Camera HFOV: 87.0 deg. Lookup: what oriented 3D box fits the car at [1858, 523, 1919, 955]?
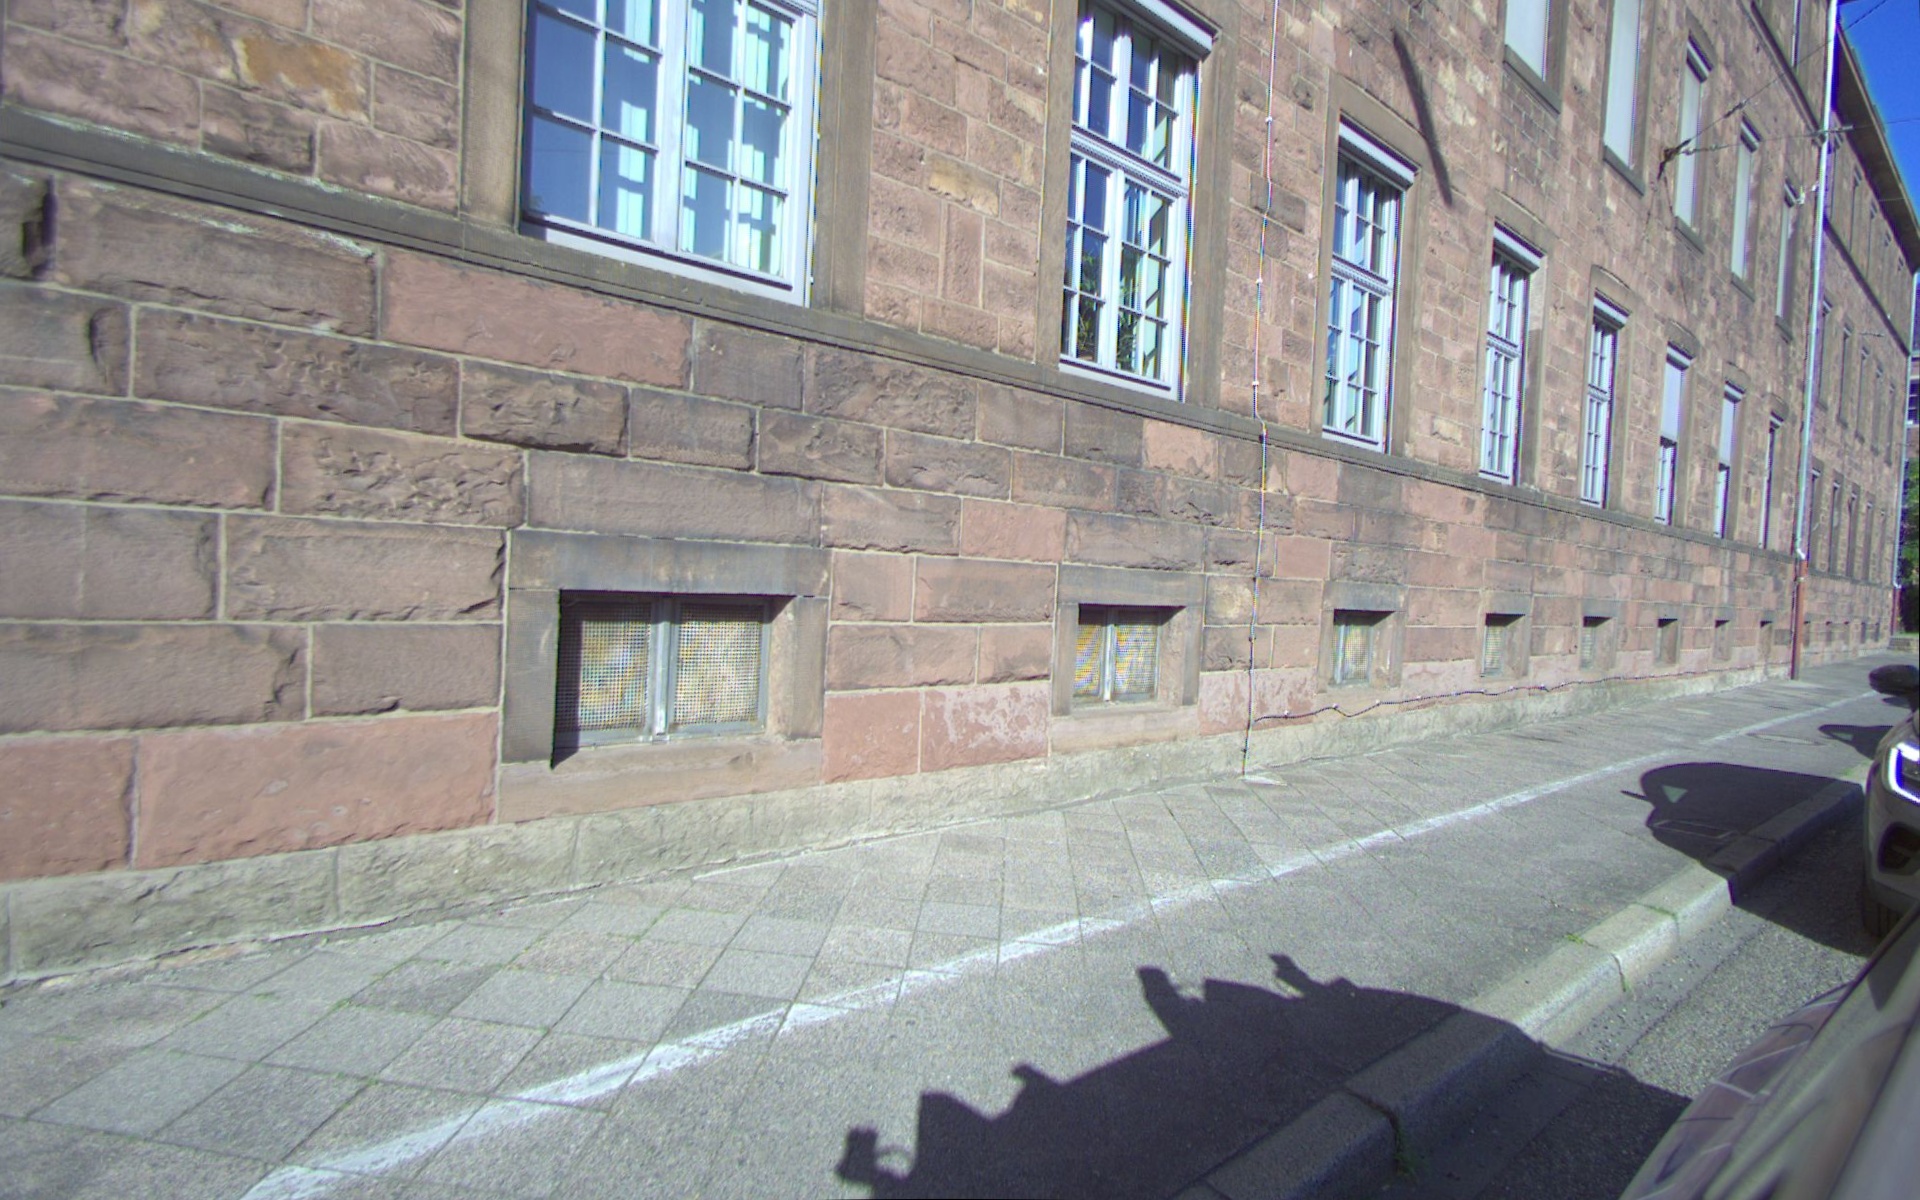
[{"bbox_3d":[5.468,0.561,4.541,3.735,1.624,1.793,1,1,-43],"label":"car"}]
